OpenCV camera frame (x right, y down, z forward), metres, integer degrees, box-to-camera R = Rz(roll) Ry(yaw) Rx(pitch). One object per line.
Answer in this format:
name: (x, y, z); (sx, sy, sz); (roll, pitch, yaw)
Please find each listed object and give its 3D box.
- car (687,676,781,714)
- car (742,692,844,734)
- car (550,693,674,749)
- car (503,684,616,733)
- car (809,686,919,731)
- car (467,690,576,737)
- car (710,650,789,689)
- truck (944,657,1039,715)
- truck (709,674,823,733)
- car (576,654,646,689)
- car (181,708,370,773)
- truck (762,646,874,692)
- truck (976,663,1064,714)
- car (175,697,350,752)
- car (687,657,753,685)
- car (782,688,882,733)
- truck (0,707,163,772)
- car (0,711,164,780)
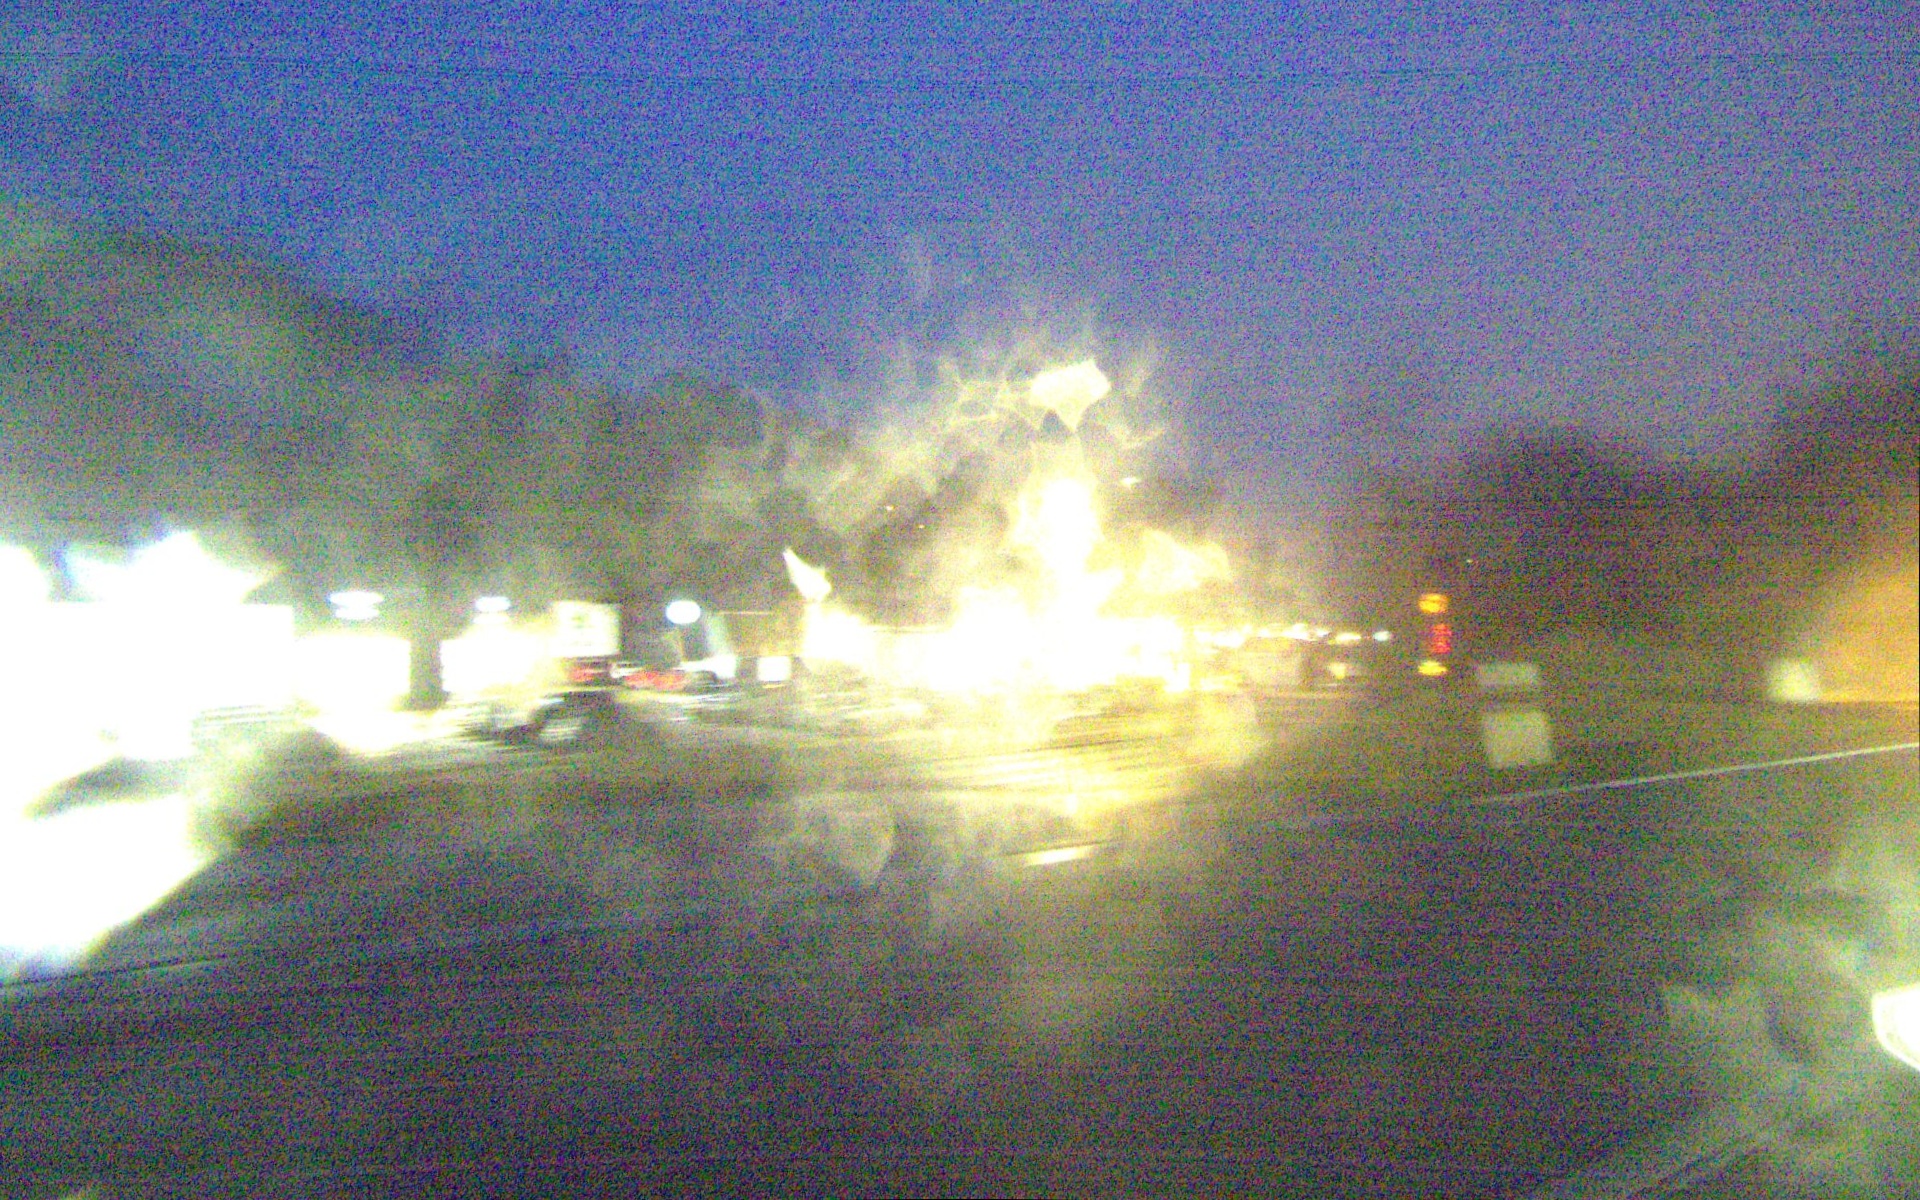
car: (-10.674, 4.487, 47.525); (3.964, 1.616, 1.760); (2, -7, -38)
car: (-7.163, 4.822, 43.122); (3.964, 1.616, 1.760); (2, -7, -38)
car: (-11.435, 3.939, 33.065); (3.484, 1.638, 1.732); (3, -6, -40)
car: (-14.595, 3.940, 36.717); (3.484, 1.638, 1.732); (3, -6, -40)
car: (-3.755, 4.248, 39.592); (3.964, 1.616, 1.760); (2, -7, -38)
car: (-16.695, 4.279, 38.311); (3.484, 1.638, 1.667); (3, -6, -40)
car: (-13.330, 4.364, 63.656); (4.412, 2.294, 1.981); (2, -1, -34)
truck: (1.897, 5.038, 59.027); (5.668, 3.215, 1.985); (3, -7, -41)
truck: (-8.736, 4.640, 45.351); (4.775, 2.475, 1.760); (2, -7, -38)
car: (-23.538, 4.809, 67.827); (4.114, 2.159, 1.984); (2, -1, -30)
car: (-19.484, 3.966, 28.824); (1.782, 1.587, 4.208); (-3, -5, 21)
truck: (-8.436, 4.087, 60.309); (6.445, 2.495, 2.299); (2, -1, -42)
truck: (3.403, 4.952, 56.528); (5.139, 2.665, 1.757); (3, -7, -41)
car: (-22.942, 4.072, 33.257); (1.961, 1.587, 4.412); (-3, -5, 21)
car: (-16.167, 4.740, 67.748); (3.955, 1.735, 1.849); (2, -1, -32)
car: (-5.286, 4.565, 41.673); (3.717, 1.715, 1.760); (2, -7, -38)
truck: (-32.408, 5.103, 37.175); (4.459, 2.145, 2.067); (3, -7, -40)
car: (-23.876, 3.738, 25.920); (1.968, 1.587, 4.839); (-4, -6, 35)
